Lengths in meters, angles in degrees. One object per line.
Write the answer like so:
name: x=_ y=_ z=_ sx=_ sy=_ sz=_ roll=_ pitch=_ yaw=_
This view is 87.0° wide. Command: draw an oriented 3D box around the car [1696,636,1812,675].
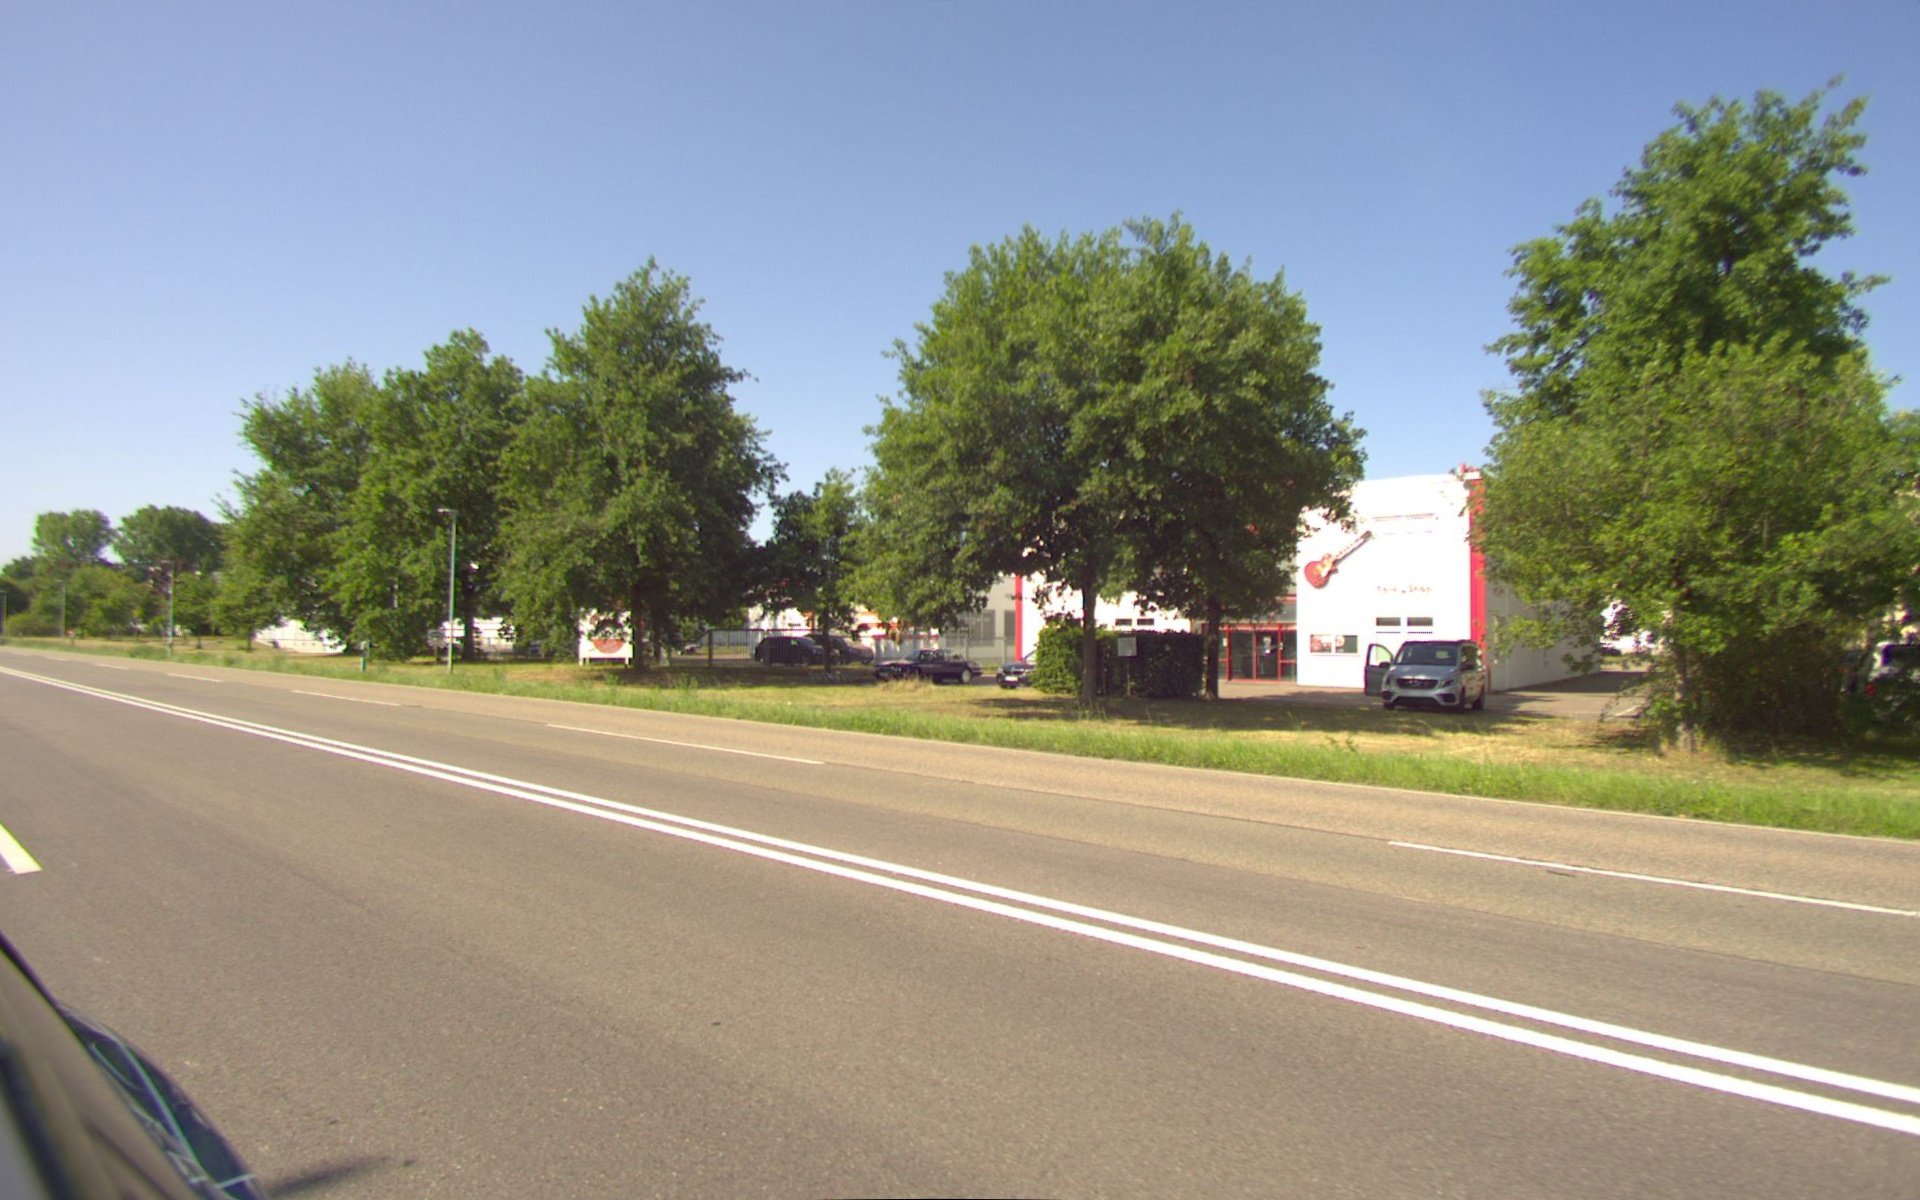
car: x=38.766 y=2.691 z=49.520 sx=1.966 sy=1.674 sz=4.011 roll=-1 pitch=0 yaw=-32

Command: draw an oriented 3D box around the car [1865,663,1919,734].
car: x=20.490 y=1.977 z=19.857 sx=3.998 sy=1.360 sz=1.655 roll=-2 pitch=-3 yaw=41

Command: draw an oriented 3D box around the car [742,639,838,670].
car: x=-8.022 y=2.545 z=47.598 sx=4.657 sy=1.360 sz=1.769 roll=-1 pitch=-3 yaw=39

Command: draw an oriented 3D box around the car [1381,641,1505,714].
car: x=12.907 y=2.042 z=26.915 sx=1.999 sy=1.744 sz=4.179 roll=-1 pitch=-4 yaw=40

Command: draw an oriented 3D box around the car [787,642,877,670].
car: x=-6.540 y=2.835 z=51.468 sx=4.657 sy=1.360 sz=1.769 roll=-1 pitch=-3 yaw=39

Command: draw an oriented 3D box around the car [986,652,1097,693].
car: x=2.891 y=2.509 z=35.262 sx=1.862 sy=1.316 sz=3.944 roll=-2 pitch=-4 yaw=41

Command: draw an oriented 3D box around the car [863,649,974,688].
car: x=-1.548 y=2.688 z=39.391 sx=1.856 sy=1.335 sz=4.305 roll=0 pitch=-5 yaw=40

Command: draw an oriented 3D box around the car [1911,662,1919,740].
car: x=19.224 y=1.813 z=17.451 sx=3.998 sy=1.360 sz=1.655 roll=-2 pitch=-3 yaw=41

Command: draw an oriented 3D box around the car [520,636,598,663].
car: x=-23.749 y=2.909 z=60.103 sx=1.756 sy=1.512 sz=3.946 roll=-2 pitch=-3 yaw=40

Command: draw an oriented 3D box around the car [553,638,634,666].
car: x=-20.727 y=2.922 z=57.340 sx=1.756 sy=1.512 sz=3.946 roll=-2 pitch=-3 yaw=40
